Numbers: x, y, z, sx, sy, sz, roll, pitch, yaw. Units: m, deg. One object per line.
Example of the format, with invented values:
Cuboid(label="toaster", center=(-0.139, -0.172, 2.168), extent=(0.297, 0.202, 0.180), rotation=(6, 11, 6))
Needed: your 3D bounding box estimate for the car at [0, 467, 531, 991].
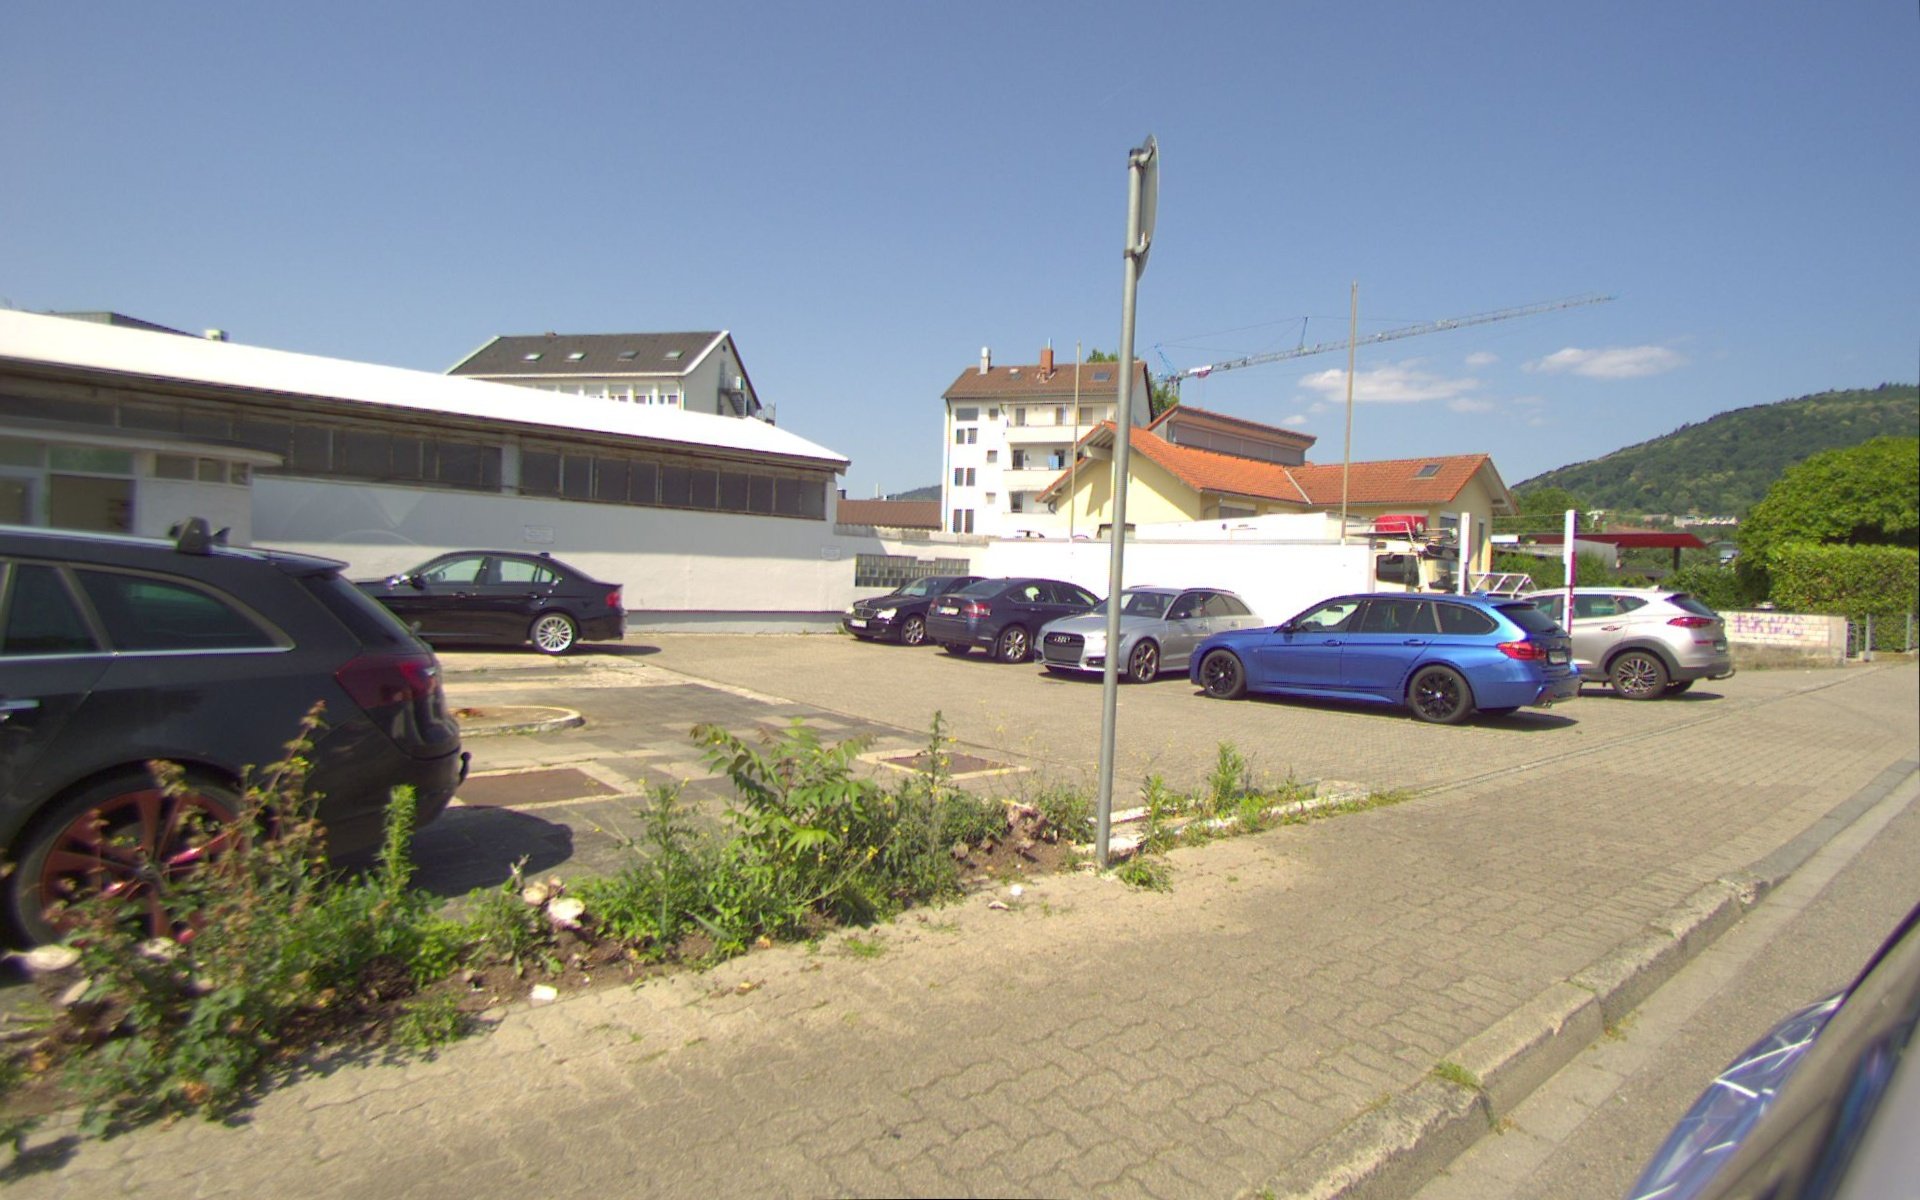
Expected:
Cuboid(label="car", center=(-4.171, 0.348, 3.167), extent=(4.865, 1.587, 1.862), rotation=(0, 2, -42))

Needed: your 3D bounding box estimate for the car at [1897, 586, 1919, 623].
Cuboid(label="car", center=(44.332, 0.278, 44.939), extent=(1.729, 1.644, 3.809), rotation=(0, 2, -42))

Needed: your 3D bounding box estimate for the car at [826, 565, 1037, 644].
Cuboid(label="car", center=(-0.538, 0.058, 20.846), extent=(3.952, 1.409, 1.892), rotation=(0, 3, -37))

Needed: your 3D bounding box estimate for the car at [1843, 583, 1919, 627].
Cuboid(label="car", center=(38.022, 0.247, 40.028), extent=(1.865, 1.546, 4.411), rotation=(-1, 5, -42))

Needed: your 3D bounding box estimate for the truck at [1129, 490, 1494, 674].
Cuboid(label="truck", center=(7.517, -0.278, 22.737), extent=(2.482, 3.467, 7.531), rotation=(0, -1, -40))

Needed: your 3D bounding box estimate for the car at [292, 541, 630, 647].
Cuboid(label="car", center=(-6.905, -0.078, 14.462), extent=(4.099, 1.341, 1.719), rotation=(1, 1, -20))

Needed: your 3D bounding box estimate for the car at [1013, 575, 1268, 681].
Cuboid(label="car", center=(3.062, 0.378, 16.584), extent=(4.381, 1.459, 1.888), rotation=(0, 2, -44))

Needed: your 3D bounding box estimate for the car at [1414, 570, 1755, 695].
Cuboid(label="car", center=(9.679, 0.511, 15.967), extent=(1.736, 1.704, 4.207), rotation=(0, -2, -41))

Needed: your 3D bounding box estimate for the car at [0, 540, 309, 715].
Cuboid(label="car", center=(-7.882, 0.179, 8.408), extent=(4.025, 1.341, 1.646), rotation=(0, 2, -38))

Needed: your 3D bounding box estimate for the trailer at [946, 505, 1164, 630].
Cuboid(label="trailer", center=(3.088, -1.178, 36.025), extent=(3.009, 3.910, 8.364), rotation=(0, 2, -35))

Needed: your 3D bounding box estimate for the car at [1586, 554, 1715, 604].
Cuboid(label="car", center=(40.805, -1.283, 60.043), extent=(5.962, 2.711, 2.239), rotation=(3, 3, 27))

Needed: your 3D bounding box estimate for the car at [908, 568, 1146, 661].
Cuboid(label="car", center=(1.291, 0.217, 18.652), extent=(4.110, 1.459, 1.892), rotation=(0, 3, -38))

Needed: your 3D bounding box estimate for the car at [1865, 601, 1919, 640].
Cuboid(label="car", center=(40.180, 0.887, 41.479), extent=(1.864, 1.515, 4.411), rotation=(0, 2, -41))

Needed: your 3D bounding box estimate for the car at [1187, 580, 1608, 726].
Cuboid(label="car", center=(5.134, 0.511, 12.363), extent=(1.859, 1.460, 4.360), rotation=(1, 0, -41))
